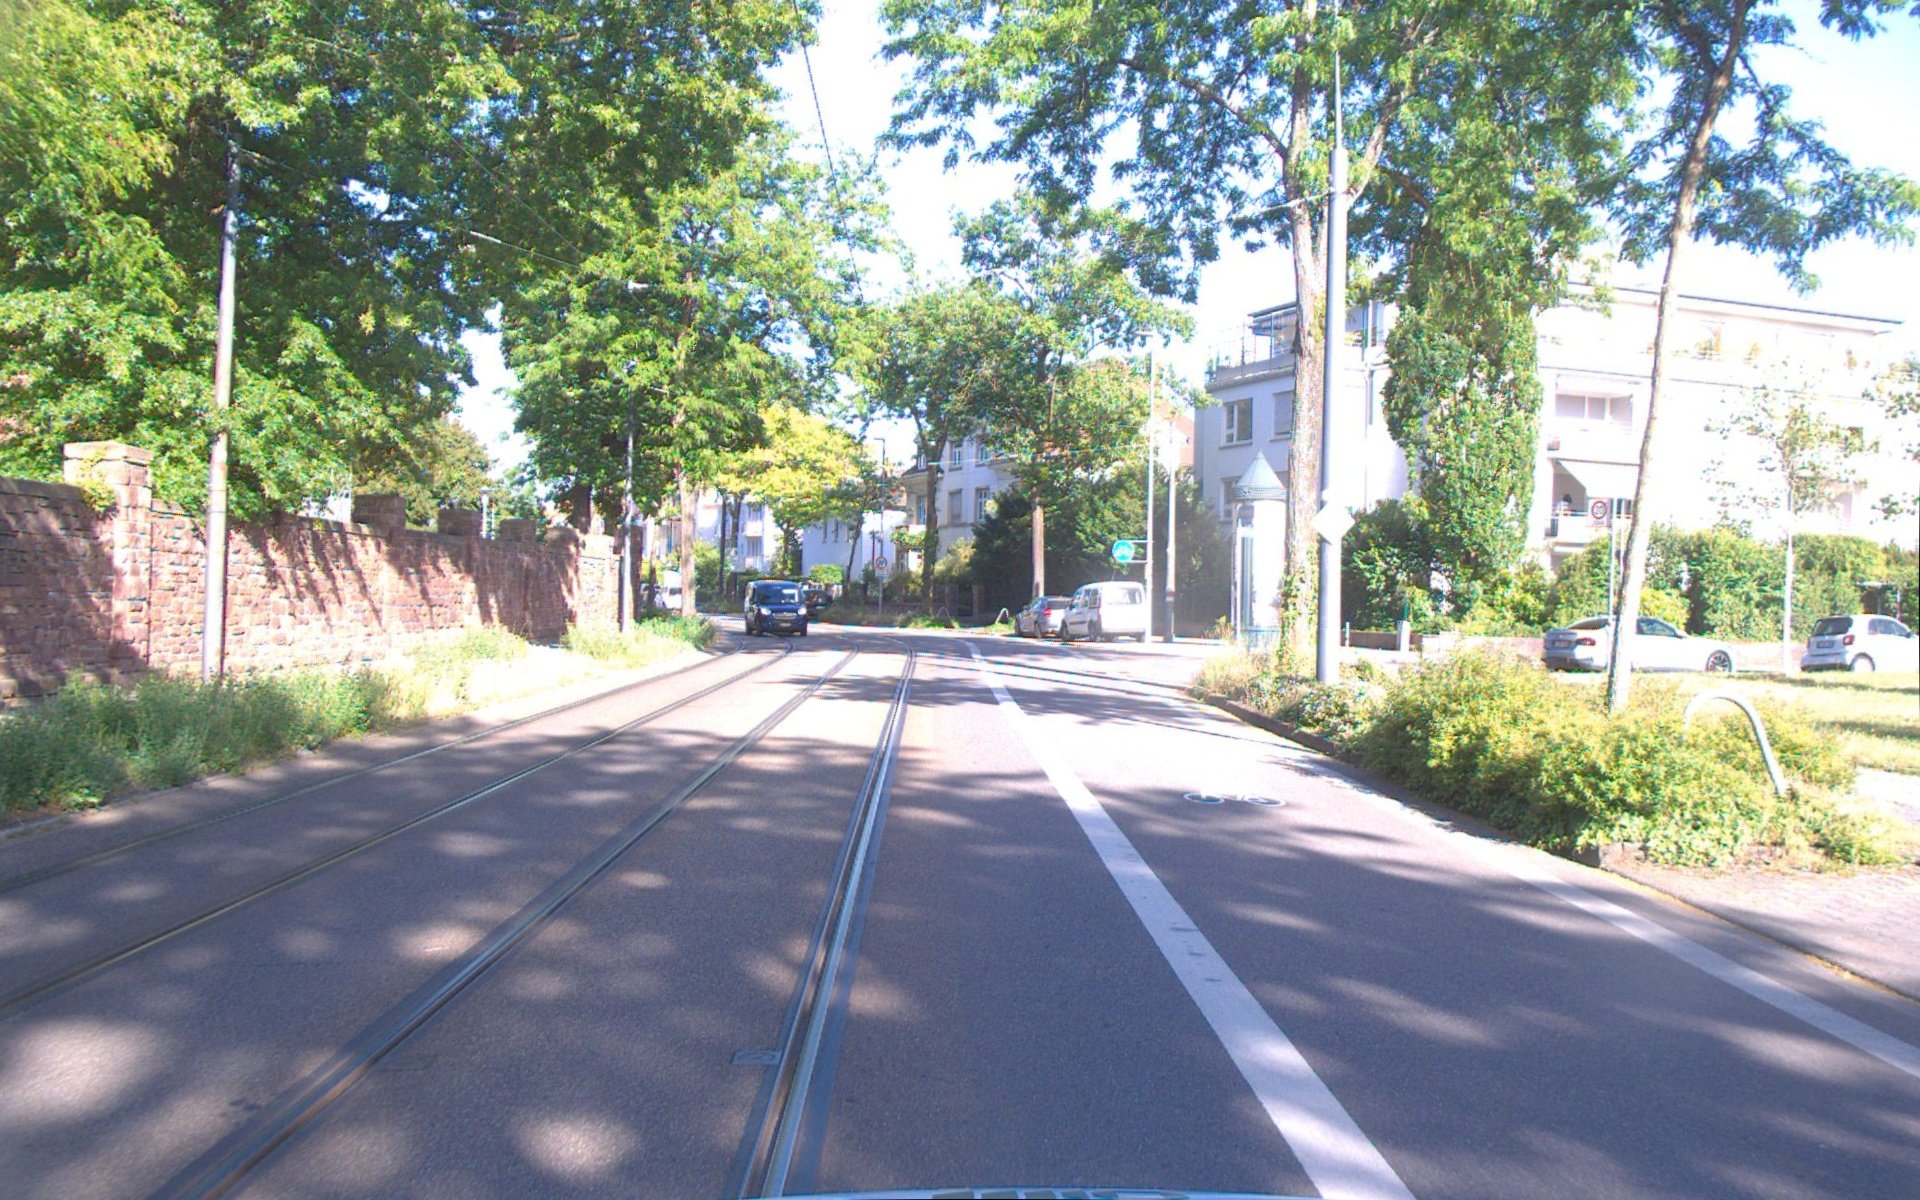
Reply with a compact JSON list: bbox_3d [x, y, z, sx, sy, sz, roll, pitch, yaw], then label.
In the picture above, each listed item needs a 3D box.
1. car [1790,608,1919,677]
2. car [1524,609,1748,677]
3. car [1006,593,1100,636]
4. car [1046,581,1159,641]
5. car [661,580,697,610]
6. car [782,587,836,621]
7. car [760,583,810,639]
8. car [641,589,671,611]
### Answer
[{"bbox_3d":[21.994,1.034,38.918,4.206,1.537,1.833,1,-2,-13],"label":"car"},{"bbox_3d":[15.011,0.945,36.750,4.442,1.393,1.958,1,0,-19],"label":"car"},{"bbox_3d":[3.205,0.492,57.841,1.962,1.448,4.312,1,0,-17],"label":"car"},{"bbox_3d":[4.401,0.314,51.972,1.990,1.777,4.731,1,0,-16],"label":"car"},{"bbox_3d":[-16.893,-0.307,99.455,1.860,1.639,4.214,1,-2,-13],"label":"car"},{"bbox_3d":[-8.204,0.211,89.608,1.778,1.723,4.701,-2,1,-20],"label":"car"},{"bbox_3d":[-5.970,0.340,56.706,1.601,1.823,4.333,1,0,-5],"label":"car"},{"bbox_3d":[-21.060,0.010,114.524,1.958,1.467,3.988,1,0,-12],"label":"car"}]
